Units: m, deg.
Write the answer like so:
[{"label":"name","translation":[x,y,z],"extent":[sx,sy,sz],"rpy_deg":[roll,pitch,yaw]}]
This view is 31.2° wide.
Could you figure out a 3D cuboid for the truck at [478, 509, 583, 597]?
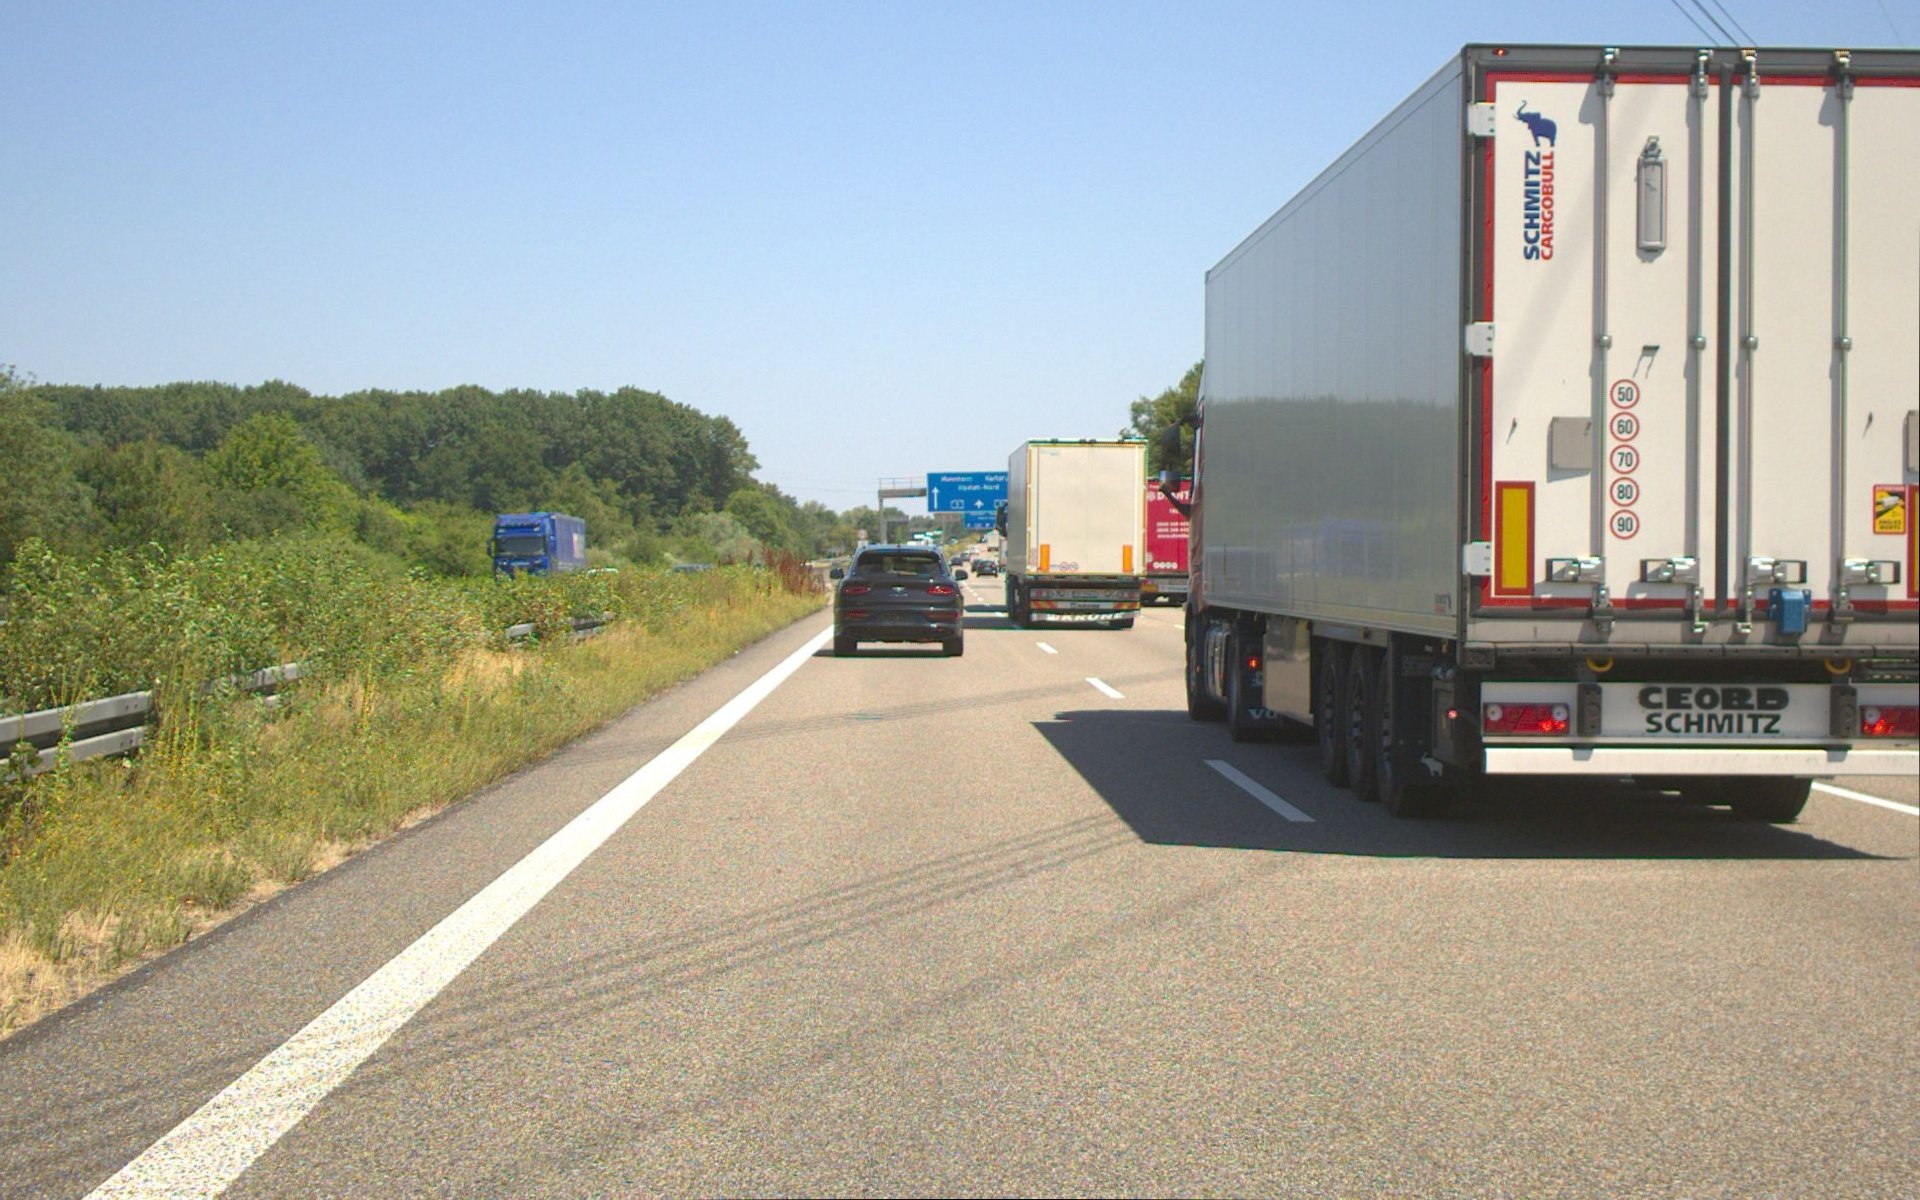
[{"label":"truck","translation":[-19.159,-2.121,154.025],"extent":[3.512,3.756,12.044],"rpy_deg":[1,1,-2]}]

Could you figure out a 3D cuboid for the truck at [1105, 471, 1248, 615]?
[{"label":"truck","translation":[7.106,-1.918,114.990],"extent":[3.512,4.477,13.252],"rpy_deg":[1,1,-2]}]

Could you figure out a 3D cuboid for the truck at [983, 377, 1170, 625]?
[{"label":"truck","translation":[2.472,-2.165,77.002],"extent":[3.512,5.149,10.259],"rpy_deg":[1,1,-2]}]

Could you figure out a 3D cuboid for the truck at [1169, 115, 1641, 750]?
[{"label":"truck","translation":[3.659,-1.338,29.997],"extent":[3.087,4.868,6.598],"rpy_deg":[1,1,-1]}]

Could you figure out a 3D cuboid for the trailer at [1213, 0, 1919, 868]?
[{"label":"trailer","translation":[3.771,-1.245,22.486],"extent":[3.087,4.868,12.259],"rpy_deg":[1,1,-1]}]

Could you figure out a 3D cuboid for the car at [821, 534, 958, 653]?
[{"label":"car","translation":[-1.137,-0.135,53.555],"extent":[1.993,1.766,4.001],"rpy_deg":[-1,1,-3]}]
